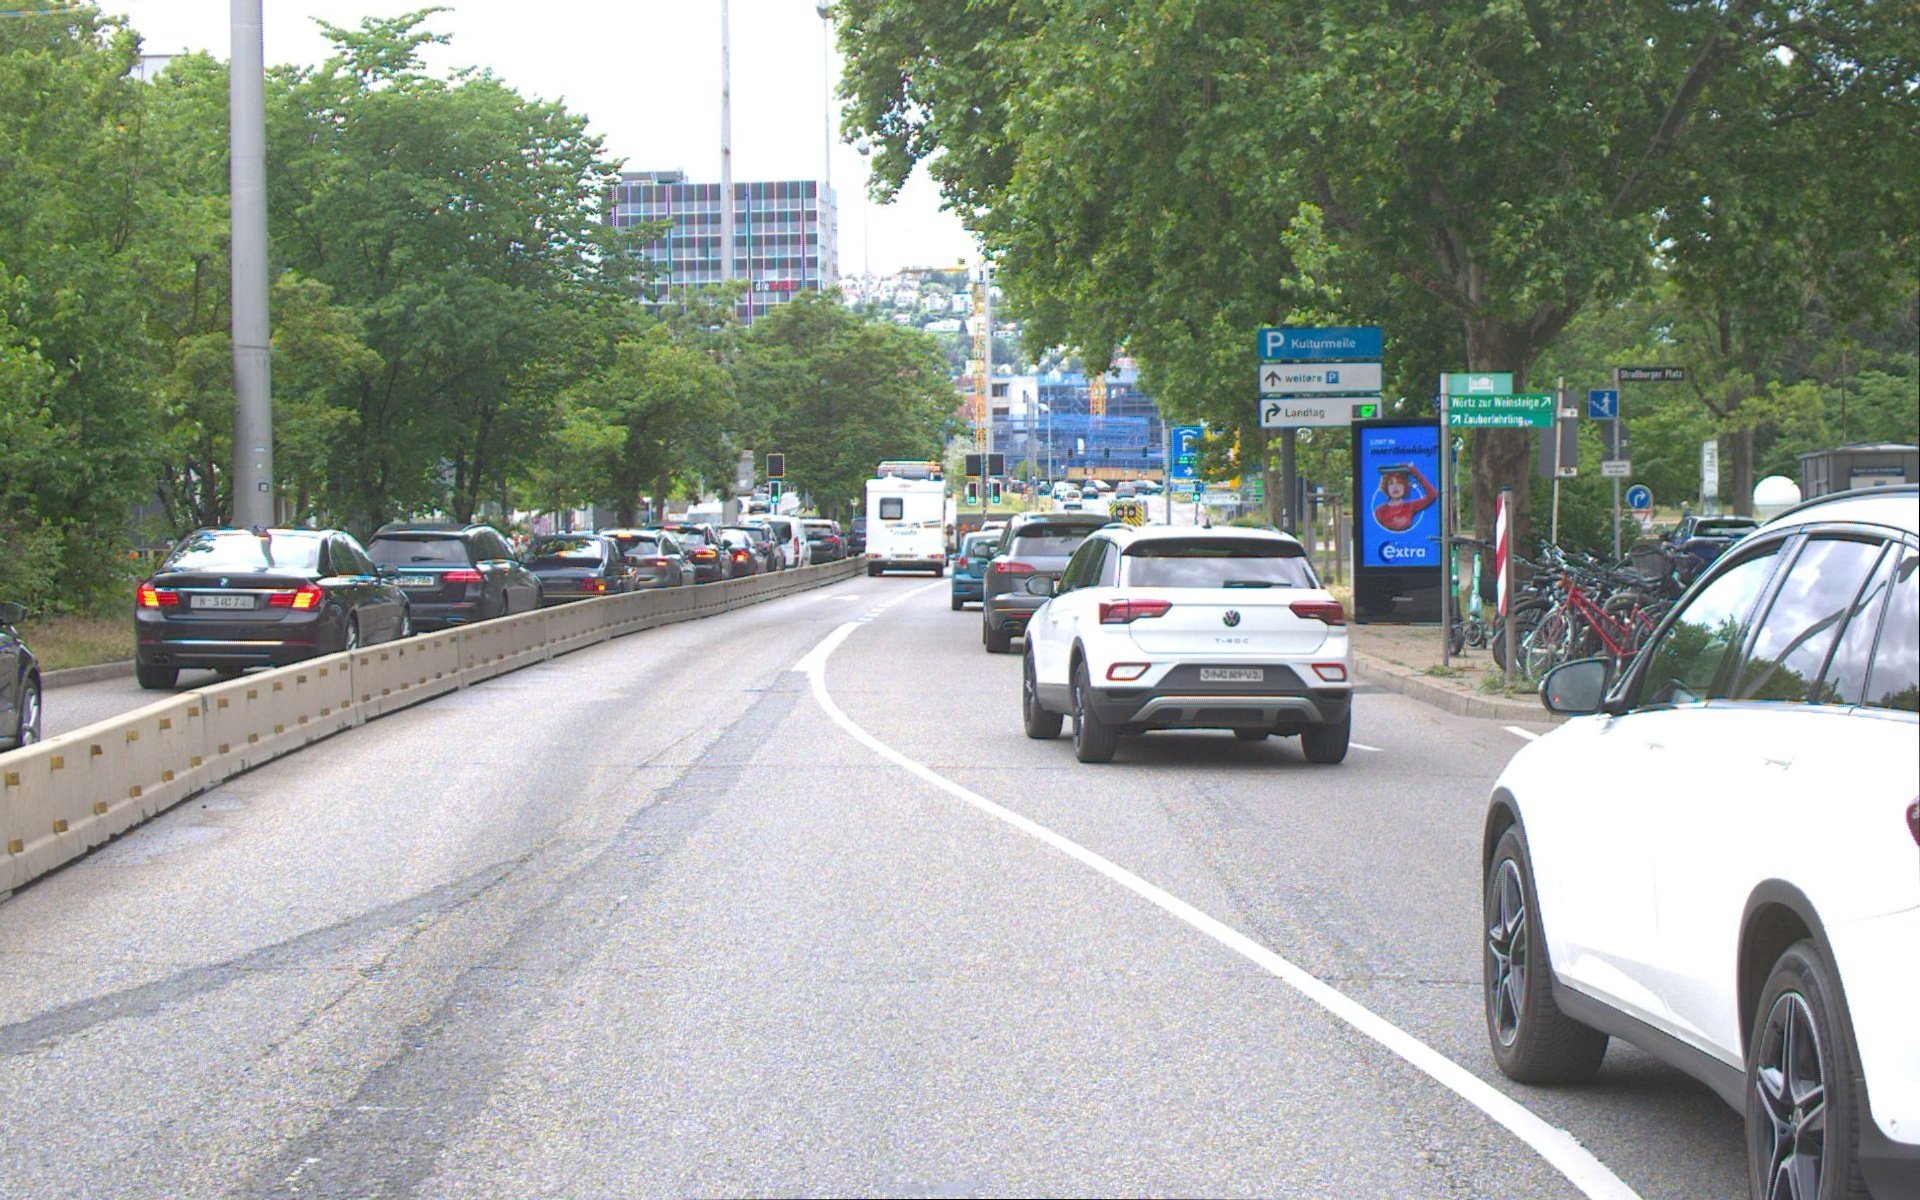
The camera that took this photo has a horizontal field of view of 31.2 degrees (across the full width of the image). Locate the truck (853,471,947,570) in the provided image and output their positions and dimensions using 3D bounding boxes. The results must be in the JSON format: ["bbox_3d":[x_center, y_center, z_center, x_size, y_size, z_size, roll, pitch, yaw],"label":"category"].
[{"bbox_3d":[-1.781,-2.413,104.659,2.621,2.851,7.079,1,1,1],"label":"truck"}]

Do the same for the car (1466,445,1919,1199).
[{"bbox_3d":[2.441,0.522,7.905,1.788,1.619,4.438,0,1,-1],"label":"car"}]

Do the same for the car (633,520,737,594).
[{"bbox_3d":[-5.516,-0.892,69.338,1.776,1.415,4.000,0,1,0],"label":"car"}]

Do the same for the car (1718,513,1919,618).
[{"bbox_3d":[13.645,-0.534,52.372,3.836,1.563,1.679,0,1,2],"label":"car"}]

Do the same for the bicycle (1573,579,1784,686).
[{"bbox_3d":[6.254,0.274,29.934,1.730,0.914,0.613,0,1,20],"label":"bicycle"}]

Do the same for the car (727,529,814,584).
[{"bbox_3d":[-4.616,-1.075,84.132,1.659,1.315,3.547,1,1,5],"label":"car"}]

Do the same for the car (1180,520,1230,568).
[{"bbox_3d":[10.354,-2.360,145.562,1.994,2.007,4.000,0,1,3],"label":"car"}]

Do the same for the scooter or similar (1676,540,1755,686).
[{"bbox_3d":[6.788,0.105,30.918,0.562,1.274,1.148,1,1,7],"label":"scooter or similar"}]

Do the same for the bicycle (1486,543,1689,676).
[{"bbox_3d":[5.857,0.085,32.145,1.757,1.205,0.604,1,1,-2],"label":"bicycle"}]

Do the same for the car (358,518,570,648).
[{"bbox_3d":[-6.038,-0.243,42.376,1.816,1.494,4.769,0,1,1],"label":"car"}]

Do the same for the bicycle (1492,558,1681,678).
[{"bbox_3d":[5.932,0.167,32.587,1.729,1.087,0.574,1,1,10],"label":"bicycle"}]

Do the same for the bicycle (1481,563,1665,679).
[{"bbox_3d":[5.998,0.195,33.630,1.729,1.087,0.425,1,1,14],"label":"bicycle"}]

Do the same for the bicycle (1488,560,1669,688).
[{"bbox_3d":[5.590,0.213,31.035,1.609,1.126,0.470,0,1,-25],"label":"bicycle"}]

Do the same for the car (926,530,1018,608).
[{"bbox_3d":[0.248,-0.586,64.599,1.659,1.408,3.547,0,1,1],"label":"car"}]

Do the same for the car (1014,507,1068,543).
[{"bbox_3d":[3.126,-2.874,132.168,1.947,1.315,4.016,0,1,3],"label":"car"}]

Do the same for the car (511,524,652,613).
[{"bbox_3d":[-6.057,-0.539,55.440,1.678,1.362,4.543,0,1,1],"label":"car"}]

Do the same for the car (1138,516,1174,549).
[{"bbox_3d":[10.165,-3.521,178.181,1.758,1.663,4.168,0,1,2],"label":"car"}]

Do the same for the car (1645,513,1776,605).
[{"bbox_3d":[14.115,-0.794,64.833,1.760,1.546,4.027,0,3,2],"label":"car"}]

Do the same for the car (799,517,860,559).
[{"bbox_3d":[-4.198,-1.983,110.842,1.659,1.315,3.547,0,1,3],"label":"car"}]

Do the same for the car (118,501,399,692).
[{"bbox_3d":[-6.447,-0.067,32.097,1.923,1.630,4.937,0,1,-4],"label":"car"}]

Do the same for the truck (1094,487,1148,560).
[{"bbox_3d":[9.307,-4.404,198.774,2.877,4.089,6.638,1,1,1],"label":"truck"}]

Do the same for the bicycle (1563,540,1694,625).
[{"bbox_3d":[9.559,-0.254,49.182,1.785,1.216,0.492,0,1,4],"label":"bicycle"}]

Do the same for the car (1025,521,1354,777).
[{"bbox_3d":[1.479,0.279,23.499,1.795,1.603,3.755,0,1,-3],"label":"car"}]

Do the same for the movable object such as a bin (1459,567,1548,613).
[{"bbox_3d":[8.232,-0.146,52.023,1.299,0.650,0.728,2,0,10],"label":"movable object such as a bin"}]

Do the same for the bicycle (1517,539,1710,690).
[{"bbox_3d":[5.627,0.117,29.608,1.544,1.252,0.542,1,1,20],"label":"bicycle"}]

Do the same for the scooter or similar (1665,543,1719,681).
[{"bbox_3d":[6.619,0.102,31.114,0.426,1.220,1.311,1,1,11],"label":"scooter or similar"}]

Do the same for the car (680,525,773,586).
[{"bbox_3d":[-5.208,-1.010,77.139,1.659,1.315,3.547,0,1,3],"label":"car"}]

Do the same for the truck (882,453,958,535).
[{"bbox_3d":[-1.507,-4.027,131.806,2.692,2.981,5.638,2,1,1],"label":"truck"}]

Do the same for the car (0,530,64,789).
[{"bbox_3d":[-6.182,0.330,18.979,1.659,1.449,4.199,0,1,-4],"label":"car"}]

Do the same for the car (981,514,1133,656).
[{"bbox_3d":[1.131,-0.203,41.622,1.659,1.633,3.548,0,1,-1],"label":"car"}]

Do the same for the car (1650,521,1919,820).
[{"bbox_3d":[5.239,0.320,19.207,1.788,1.481,4.326,0,1,-1],"label":"car"}]

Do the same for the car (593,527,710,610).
[{"bbox_3d":[-5.503,-0.566,61.708,1.661,1.431,3.960,0,1,1],"label":"car"}]

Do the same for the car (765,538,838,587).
[{"bbox_3d":[-4.346,-1.033,94.643,1.659,1.315,3.547,0,1,3],"label":"car"}]

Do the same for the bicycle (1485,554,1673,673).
[{"bbox_3d":[5.937,0.123,32.978,1.729,1.087,0.380,1,1,14],"label":"bicycle"}]

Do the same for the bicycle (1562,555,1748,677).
[{"bbox_3d":[6.098,0.133,30.171,1.564,1.024,0.436,1,1,13],"label":"bicycle"}]

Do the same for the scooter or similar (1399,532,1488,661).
[{"bbox_3d":[5.106,-0.050,36.393,0.725,1.327,1.413,1,1,0],"label":"scooter or similar"}]

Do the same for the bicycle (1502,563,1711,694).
[{"bbox_3d":[5.491,0.232,29.208,1.664,1.070,0.584,1,1,21],"label":"bicycle"}]
